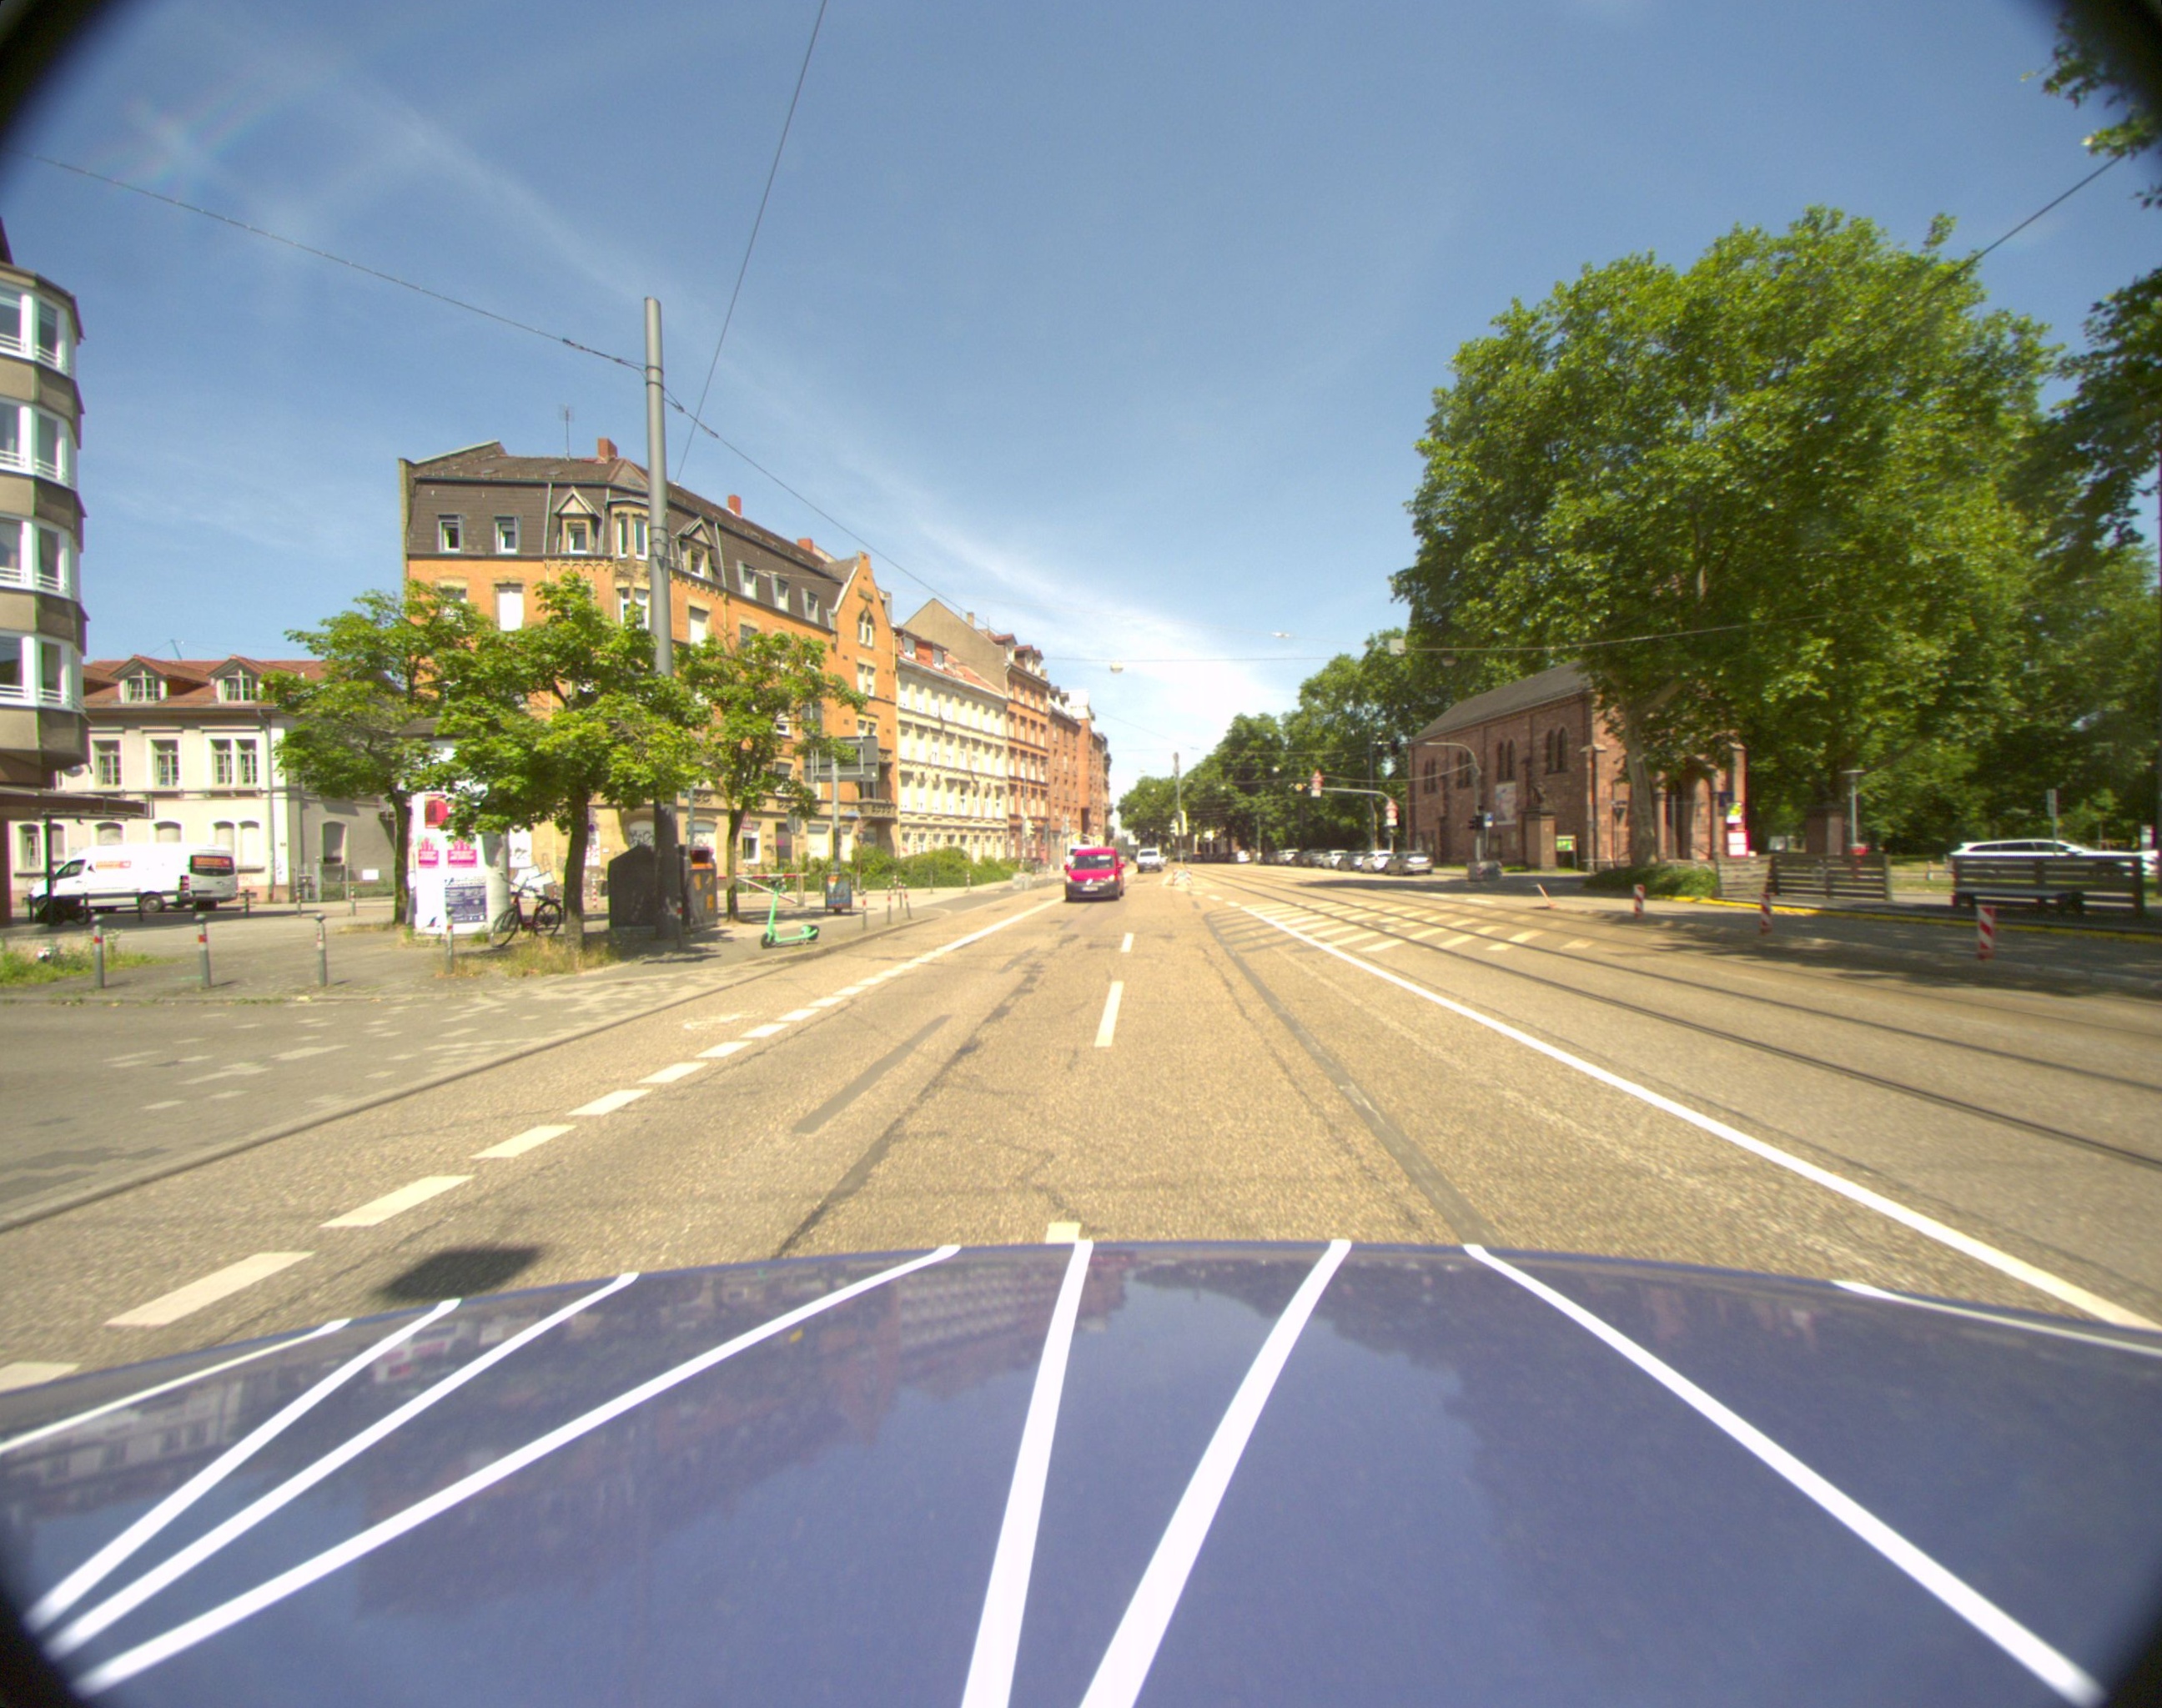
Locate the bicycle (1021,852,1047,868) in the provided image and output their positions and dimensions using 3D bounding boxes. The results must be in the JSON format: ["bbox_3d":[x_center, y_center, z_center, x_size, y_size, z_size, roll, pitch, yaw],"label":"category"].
[{"bbox_3d":[-3.727,0.490,60.418,1.918,1.174,0.493,-2,1,8],"label":"bicycle"}]

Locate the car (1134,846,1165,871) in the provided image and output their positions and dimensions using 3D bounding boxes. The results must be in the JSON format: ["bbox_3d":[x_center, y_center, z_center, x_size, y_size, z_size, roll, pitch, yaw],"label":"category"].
[{"bbox_3d":[5.758,0.370,63.611,2.164,1.926,4.857,-2,0,9],"label":"car"}]

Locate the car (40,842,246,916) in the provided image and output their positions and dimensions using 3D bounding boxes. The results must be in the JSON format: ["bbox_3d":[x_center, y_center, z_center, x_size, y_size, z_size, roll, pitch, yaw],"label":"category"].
[{"bbox_3d":[-36.095,0.934,29.350,5.215,2.607,1.999,-2,1,-2],"label":"car"}]

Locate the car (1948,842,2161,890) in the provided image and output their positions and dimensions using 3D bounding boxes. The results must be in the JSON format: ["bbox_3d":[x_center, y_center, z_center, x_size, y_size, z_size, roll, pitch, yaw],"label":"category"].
[{"bbox_3d":[34.186,0.412,26.771,1.918,1.499,4.525,-2,0,-32],"label":"car"}]

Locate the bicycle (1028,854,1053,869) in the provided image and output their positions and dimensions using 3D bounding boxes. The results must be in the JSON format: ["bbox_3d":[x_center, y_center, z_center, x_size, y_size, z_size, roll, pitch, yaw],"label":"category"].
[{"bbox_3d":[-3.262,0.618,61.166,1.918,1.174,0.493,-2,1,8],"label":"bicycle"}]

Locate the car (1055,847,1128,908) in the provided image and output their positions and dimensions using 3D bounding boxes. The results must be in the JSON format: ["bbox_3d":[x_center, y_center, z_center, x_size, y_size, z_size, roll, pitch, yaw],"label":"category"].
[{"bbox_3d":[0.462,0.715,25.840,1.858,1.823,5.169,-2,0,7],"label":"car"}]

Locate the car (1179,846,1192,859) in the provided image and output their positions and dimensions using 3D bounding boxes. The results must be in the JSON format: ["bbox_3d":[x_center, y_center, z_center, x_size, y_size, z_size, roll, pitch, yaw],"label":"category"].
[{"bbox_3d":[18.821,-0.281,136.972,1.821,2.284,3.762,-2,0,1],"label":"car"}]

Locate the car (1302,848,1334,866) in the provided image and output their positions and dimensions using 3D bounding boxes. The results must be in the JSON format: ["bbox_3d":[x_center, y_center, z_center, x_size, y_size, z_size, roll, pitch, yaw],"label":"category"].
[{"bbox_3d":[20.819,0.247,66.902,1.747,1.515,3.754,-2,0,2],"label":"car"}]

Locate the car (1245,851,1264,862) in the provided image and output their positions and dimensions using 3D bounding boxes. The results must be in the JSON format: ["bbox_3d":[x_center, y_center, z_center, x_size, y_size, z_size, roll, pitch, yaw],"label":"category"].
[{"bbox_3d":[21.338,0.302,93.600,1.649,1.372,3.766,-2,0,2],"label":"car"}]

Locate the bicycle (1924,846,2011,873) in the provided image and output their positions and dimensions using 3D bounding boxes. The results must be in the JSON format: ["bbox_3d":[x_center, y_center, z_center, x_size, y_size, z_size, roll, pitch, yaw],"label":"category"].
[{"bbox_3d":[31.379,0.185,26.932,0.644,0.895,1.905,-2,0,-17],"label":"bicycle"}]

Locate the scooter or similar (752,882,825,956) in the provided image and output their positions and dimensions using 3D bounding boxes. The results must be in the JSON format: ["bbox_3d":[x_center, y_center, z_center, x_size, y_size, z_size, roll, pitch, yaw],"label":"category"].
[{"bbox_3d":[-5.133,1.117,13.383,0.390,1.207,1.182,3,0,27],"label":"scooter or similar"}]

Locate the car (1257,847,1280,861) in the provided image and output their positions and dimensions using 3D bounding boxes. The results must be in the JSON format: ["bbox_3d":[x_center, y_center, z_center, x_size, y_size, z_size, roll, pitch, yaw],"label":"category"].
[{"bbox_3d":[21.782,-0.008,88.564,1.747,1.489,4.188,-2,0,2],"label":"car"}]

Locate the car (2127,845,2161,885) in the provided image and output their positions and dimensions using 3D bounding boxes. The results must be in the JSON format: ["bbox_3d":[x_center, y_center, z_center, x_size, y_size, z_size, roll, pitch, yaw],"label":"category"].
[{"bbox_3d":[40.119,0.377,26.808,1.723,1.368,3.587,-2,0,-29],"label":"car"}]

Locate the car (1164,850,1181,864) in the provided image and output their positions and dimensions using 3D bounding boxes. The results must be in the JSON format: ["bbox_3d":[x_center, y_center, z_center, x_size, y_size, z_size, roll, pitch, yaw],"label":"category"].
[{"bbox_3d":[11.128,0.311,92.610,1.799,1.565,4.001,-2,0,5],"label":"car"}]

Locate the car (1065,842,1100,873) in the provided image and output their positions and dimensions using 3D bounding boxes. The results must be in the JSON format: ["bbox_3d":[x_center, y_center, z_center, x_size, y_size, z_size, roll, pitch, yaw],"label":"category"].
[{"bbox_3d":[0.189,0.227,60.255,1.997,2.317,5.410,2,1,8],"label":"car"}]

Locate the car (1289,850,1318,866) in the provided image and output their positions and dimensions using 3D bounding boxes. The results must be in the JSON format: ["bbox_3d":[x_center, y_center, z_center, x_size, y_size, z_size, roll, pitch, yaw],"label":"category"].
[{"bbox_3d":[21.152,0.345,72.288,1.671,1.368,4.000,-2,0,2],"label":"car"}]

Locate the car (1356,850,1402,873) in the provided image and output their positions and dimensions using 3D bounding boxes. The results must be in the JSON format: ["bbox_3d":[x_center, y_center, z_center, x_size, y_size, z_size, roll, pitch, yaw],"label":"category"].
[{"bbox_3d":[20.080,0.484,51.394,1.662,1.450,4.059,-2,0,3],"label":"car"}]

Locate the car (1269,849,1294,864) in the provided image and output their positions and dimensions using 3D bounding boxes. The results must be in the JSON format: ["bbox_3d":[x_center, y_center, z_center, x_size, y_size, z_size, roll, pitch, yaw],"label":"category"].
[{"bbox_3d":[21.739,0.264,82.641,1.747,1.489,4.188,-2,0,2],"label":"car"}]

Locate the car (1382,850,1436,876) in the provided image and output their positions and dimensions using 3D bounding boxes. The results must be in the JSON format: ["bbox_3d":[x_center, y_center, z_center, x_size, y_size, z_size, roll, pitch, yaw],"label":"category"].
[{"bbox_3d":[19.961,0.537,46.433,1.662,1.450,4.221,-2,0,3],"label":"car"}]

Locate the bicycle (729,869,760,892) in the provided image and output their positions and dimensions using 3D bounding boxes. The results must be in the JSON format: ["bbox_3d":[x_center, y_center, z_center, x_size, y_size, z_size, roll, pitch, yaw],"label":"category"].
[{"bbox_3d":[-15.484,1.231,35.009,0.490,0.986,1.489,-2,0,12],"label":"bicycle"}]

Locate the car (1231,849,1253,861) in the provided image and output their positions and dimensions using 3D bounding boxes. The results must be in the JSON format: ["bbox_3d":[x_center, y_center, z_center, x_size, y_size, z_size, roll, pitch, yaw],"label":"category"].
[{"bbox_3d":[21.246,0.138,100.401,1.977,1.554,4.000,-2,0,0],"label":"car"}]

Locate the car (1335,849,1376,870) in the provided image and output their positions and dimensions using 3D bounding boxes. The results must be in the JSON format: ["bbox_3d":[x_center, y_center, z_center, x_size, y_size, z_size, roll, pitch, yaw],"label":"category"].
[{"bbox_3d":[20.309,0.378,56.374,1.662,1.450,4.059,-2,0,2],"label":"car"}]

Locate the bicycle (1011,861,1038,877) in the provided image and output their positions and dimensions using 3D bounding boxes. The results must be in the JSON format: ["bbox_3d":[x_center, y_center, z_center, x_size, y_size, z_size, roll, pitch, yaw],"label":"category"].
[{"bbox_3d":[-4.250,1.119,57.498,1.918,1.174,0.493,-2,1,8],"label":"bicycle"}]

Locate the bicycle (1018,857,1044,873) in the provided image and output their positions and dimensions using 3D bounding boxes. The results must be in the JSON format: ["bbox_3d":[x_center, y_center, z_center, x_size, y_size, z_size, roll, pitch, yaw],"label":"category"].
[{"bbox_3d":[-3.863,0.829,58.733,1.918,1.174,0.493,-2,1,8],"label":"bicycle"}]

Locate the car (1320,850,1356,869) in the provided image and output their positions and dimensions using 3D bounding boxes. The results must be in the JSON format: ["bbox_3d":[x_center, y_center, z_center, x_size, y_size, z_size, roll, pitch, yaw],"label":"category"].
[{"bbox_3d":[20.804,0.414,61.710,1.747,1.450,3.754,-2,0,2],"label":"car"}]

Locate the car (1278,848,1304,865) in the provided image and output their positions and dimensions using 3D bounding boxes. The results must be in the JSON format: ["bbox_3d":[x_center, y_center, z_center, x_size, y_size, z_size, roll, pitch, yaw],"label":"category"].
[{"bbox_3d":[21.353,0.244,77.437,1.746,1.643,3.906,-2,0,4],"label":"car"}]

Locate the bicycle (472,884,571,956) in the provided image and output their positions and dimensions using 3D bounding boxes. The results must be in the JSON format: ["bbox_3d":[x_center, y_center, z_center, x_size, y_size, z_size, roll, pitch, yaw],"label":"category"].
[{"bbox_3d":[-10.051,1.151,13.725,0.487,1.146,1.708,-2,0,0],"label":"bicycle"}]

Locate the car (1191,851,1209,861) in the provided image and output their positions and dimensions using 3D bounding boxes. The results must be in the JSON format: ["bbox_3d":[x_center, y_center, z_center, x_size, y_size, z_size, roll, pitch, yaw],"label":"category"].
[{"bbox_3d":[16.539,0.283,105.527,1.750,1.387,4.346,-2,0,0],"label":"car"}]

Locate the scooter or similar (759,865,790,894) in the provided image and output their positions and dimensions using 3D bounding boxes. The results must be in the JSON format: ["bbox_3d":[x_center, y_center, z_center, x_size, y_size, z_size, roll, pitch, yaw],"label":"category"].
[{"bbox_3d":[-13.469,1.095,33.420,0.490,1.198,1.489,-2,0,12],"label":"scooter or similar"}]
